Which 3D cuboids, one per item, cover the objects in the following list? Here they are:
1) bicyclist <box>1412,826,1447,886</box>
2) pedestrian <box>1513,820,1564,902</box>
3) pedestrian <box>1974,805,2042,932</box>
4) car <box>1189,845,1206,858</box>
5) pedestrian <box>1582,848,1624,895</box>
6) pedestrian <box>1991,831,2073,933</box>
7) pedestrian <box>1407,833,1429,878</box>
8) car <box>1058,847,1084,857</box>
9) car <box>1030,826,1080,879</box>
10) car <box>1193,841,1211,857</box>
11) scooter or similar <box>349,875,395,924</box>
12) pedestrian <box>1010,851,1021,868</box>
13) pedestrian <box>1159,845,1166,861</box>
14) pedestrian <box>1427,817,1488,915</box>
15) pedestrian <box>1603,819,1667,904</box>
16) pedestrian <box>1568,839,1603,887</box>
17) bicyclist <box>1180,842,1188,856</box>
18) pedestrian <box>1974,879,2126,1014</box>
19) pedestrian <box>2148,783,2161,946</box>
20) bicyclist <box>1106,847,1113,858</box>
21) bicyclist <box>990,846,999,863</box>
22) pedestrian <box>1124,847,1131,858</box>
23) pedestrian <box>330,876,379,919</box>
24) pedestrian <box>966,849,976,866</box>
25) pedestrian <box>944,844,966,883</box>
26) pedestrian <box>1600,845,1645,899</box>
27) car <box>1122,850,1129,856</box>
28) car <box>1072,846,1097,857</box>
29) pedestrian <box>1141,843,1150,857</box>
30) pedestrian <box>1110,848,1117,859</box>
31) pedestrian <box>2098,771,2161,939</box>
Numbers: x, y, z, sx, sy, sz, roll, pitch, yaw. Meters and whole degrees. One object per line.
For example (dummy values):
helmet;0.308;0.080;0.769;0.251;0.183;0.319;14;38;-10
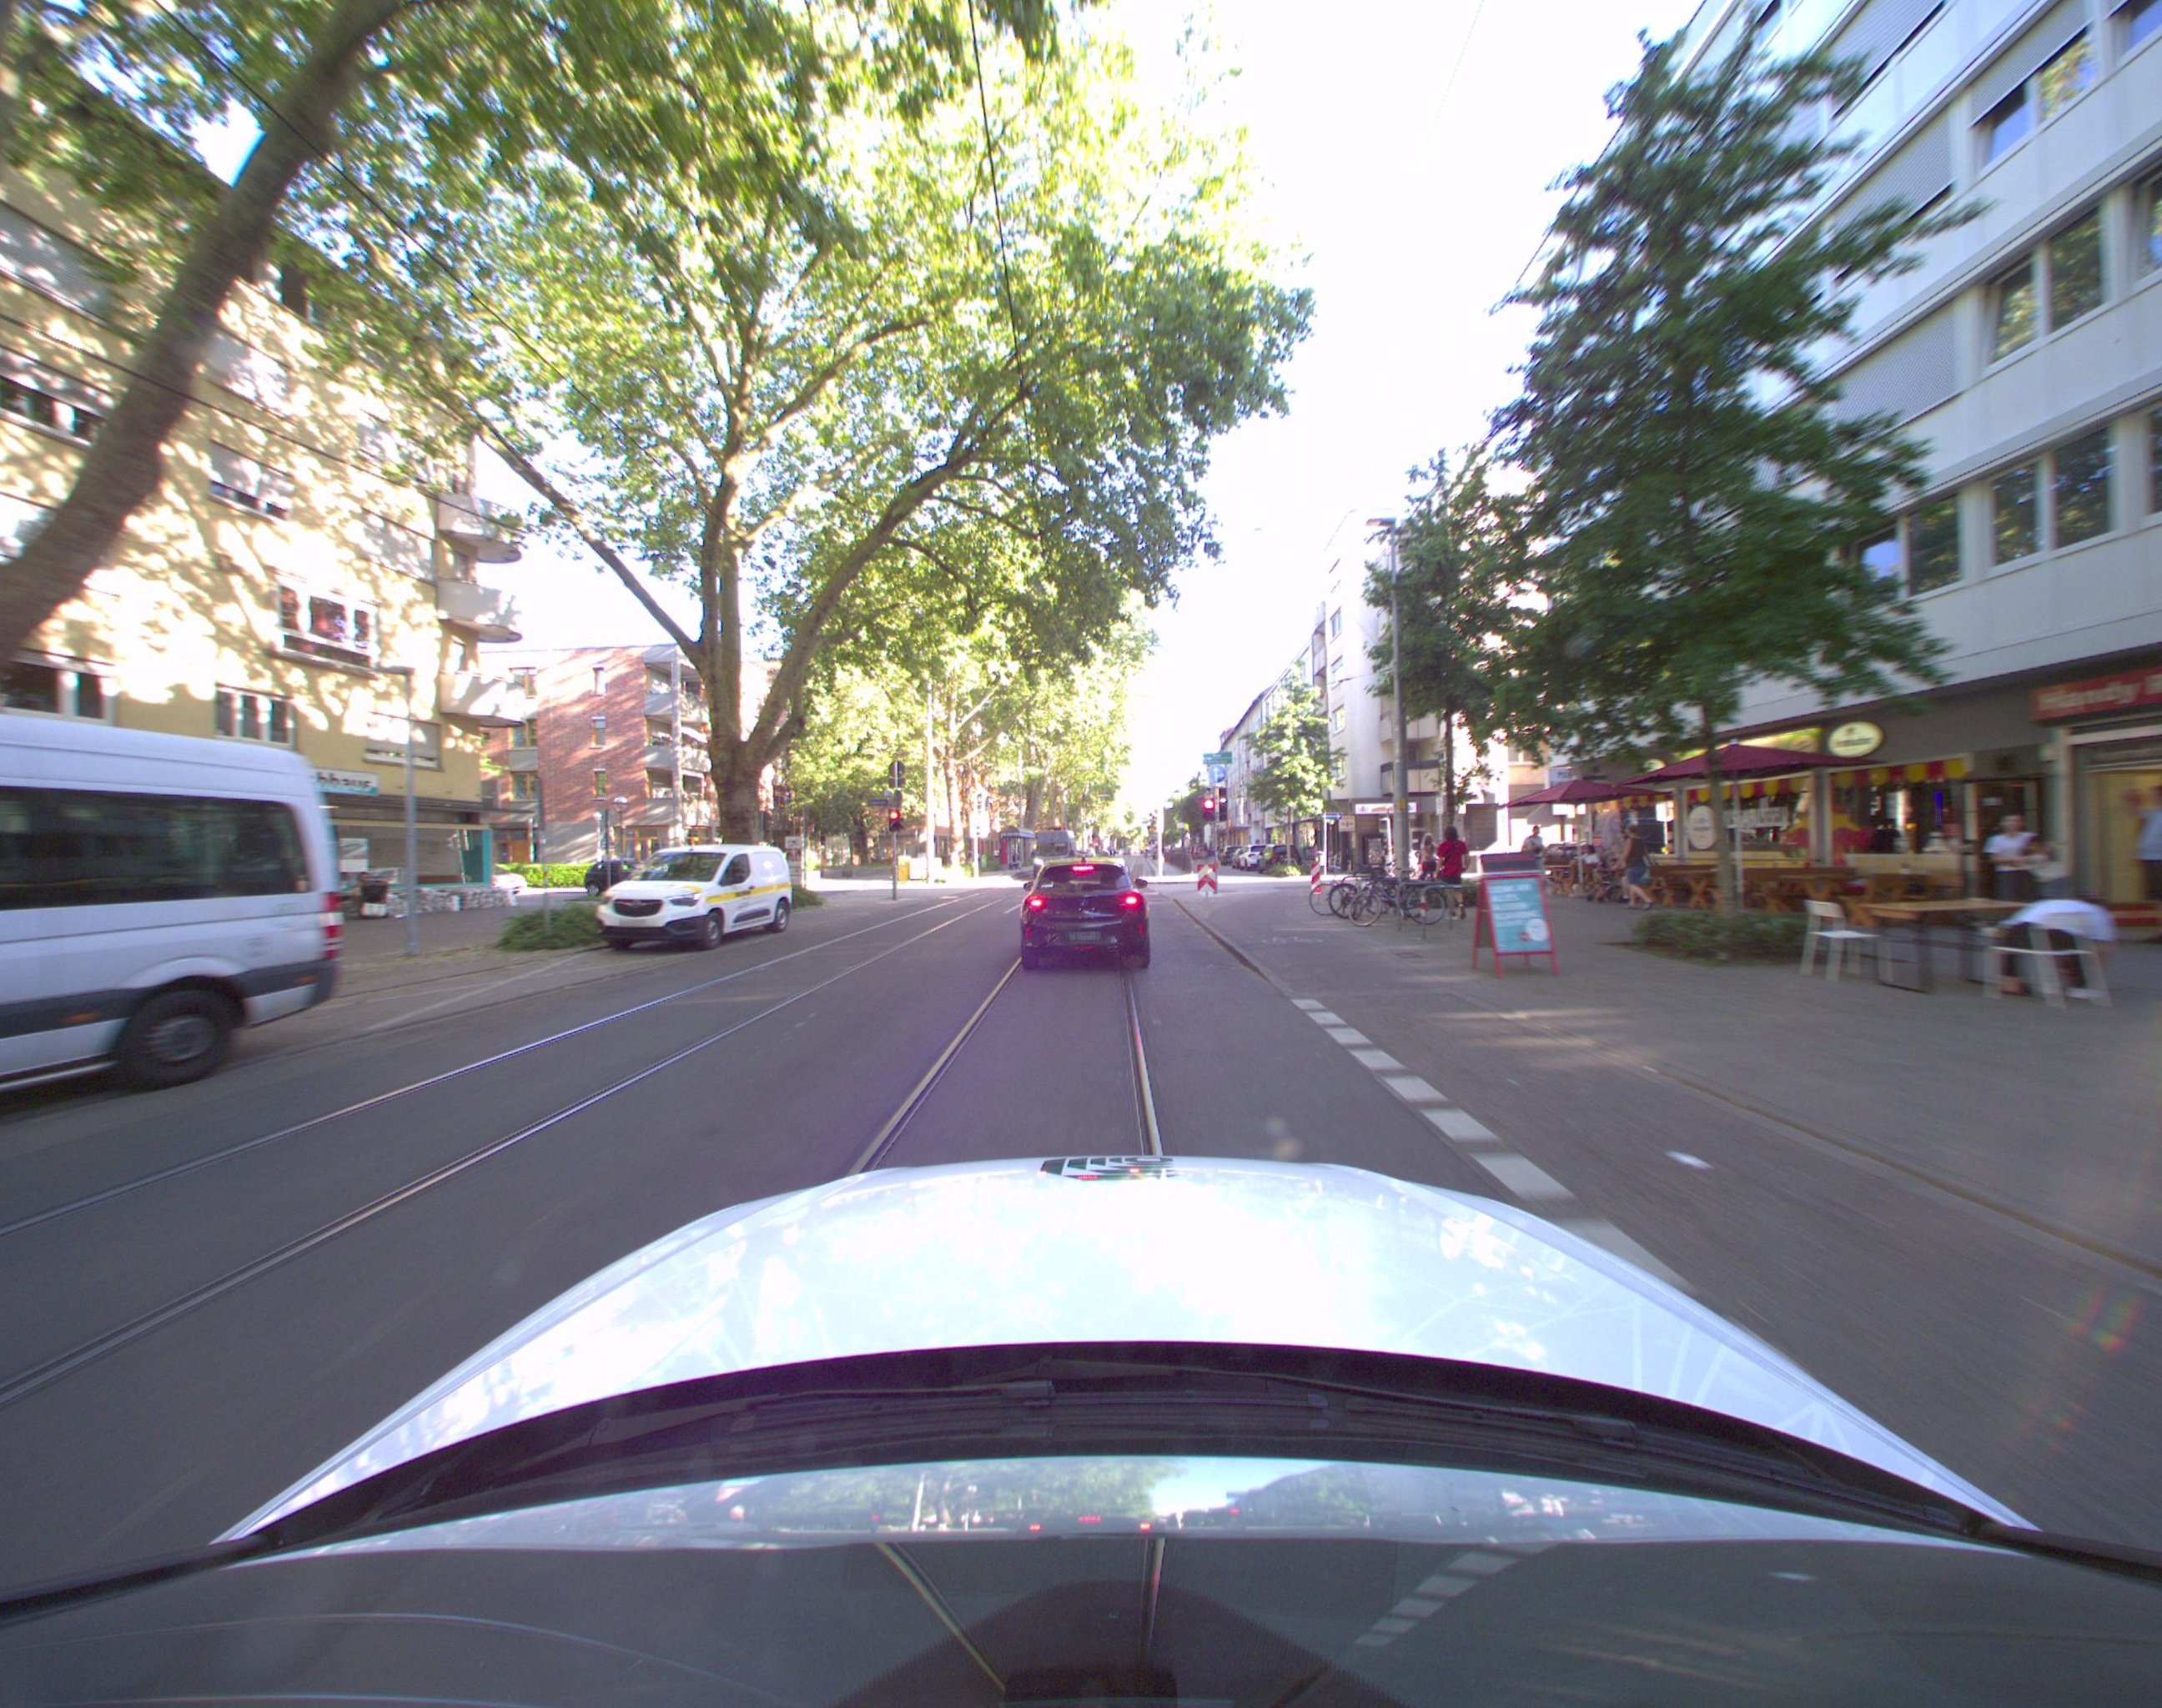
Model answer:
bicyclist;10.202;0.055;23.878;0.673;1.717;0.967;-1;0;6
pedestrian;10.208;0.150;18.212;0.588;1.784;0.996;-1;0;2
pedestrian;12.242;0.184;10.758;0.510;1.628;0.513;0;0;-34
car;15.605;-0.339;109.114;1.985;1.797;4.004;-1;0;3
pedestrian;12.237;0.410;19.108;0.639;1.079;0.522;-1;0;2
pedestrian;12.356;0.351;10.585;0.511;1.276;0.620;0;0;-33
pedestrian;11.675;0.062;28.245;0.548;1.562;0.646;-1;-1;8
car;-1.660;-0.343;133.211;4.105;1.701;1.881;-1;0;-4
car;-1.388;-0.073;46.616;2.104;2.738;6.121;-2;0;4
car;15.213;-0.643;102.482;1.985;1.952;4.004;-1;0;3
scooter or similar;-17.442;1.107;20.039;0.636;1.167;0.679;-1;0;30
pedestrian;-4.566;0.374;56.853;0.703;1.168;0.659;-2;0;1
pedestrian;8.237;-0.083;82.368;0.628;1.576;0.872;1;0;4
pedestrian;7.005;0.221;15.209;0.868;1.758;1.052;-1;0;16
pedestrian;11.155;0.152;16.421;0.678;1.659;0.810;0;0;-16
pedestrian;13.691;0.235;22.123;0.533;1.287;0.716;-1;0;5
bicyclist;12.769;-0.633;101.201;0.859;1.759;1.052;-1;0;-2
pedestrian;8.236;0.742;6.970;0.652;1.027;1.008;-1;0;39
pedestrian;12.320;0.111;9.024;0.635;1.805;0.520;0;-1;-43
bicyclist;4.905;-0.240;139.059;1.160;1.748;0.957;-1;0;-2
bicyclist;-8.839;0.026;83.703;0.771;1.750;0.998;-1;0;2
pedestrian;7.724;-0.221;135.819;1.160;1.748;0.957;-1;0;-2
pedestrian;-18.326;1.081;20.559;0.576;1.047;0.711;-1;0;2
pedestrian;-10.514;0.338;77.631;0.732;1.672;0.862;-1;0;4
pedestrian;-6.053;0.436;39.176;0.921;1.835;0.920;-1;2;0
pedestrian;12.151;0.401;18.276;0.656;1.175;0.522;-1;0;2
car;11.392;-0.269;209.296;1.738;1.544;4.002;-1;0;2
car;0.583;-0.454;144.706;4.375;1.851;1.998;-1;0;-4
pedestrian;8.013;-0.465;101.306;0.742;1.709;0.768;-1;0;38
pedestrian;5.412;-0.057;135.689;1.160;1.748;0.957;-1;0;-2
pedestrian;12.886;0.006;9.740;0.502;1.954;0.795;-1;0;13
